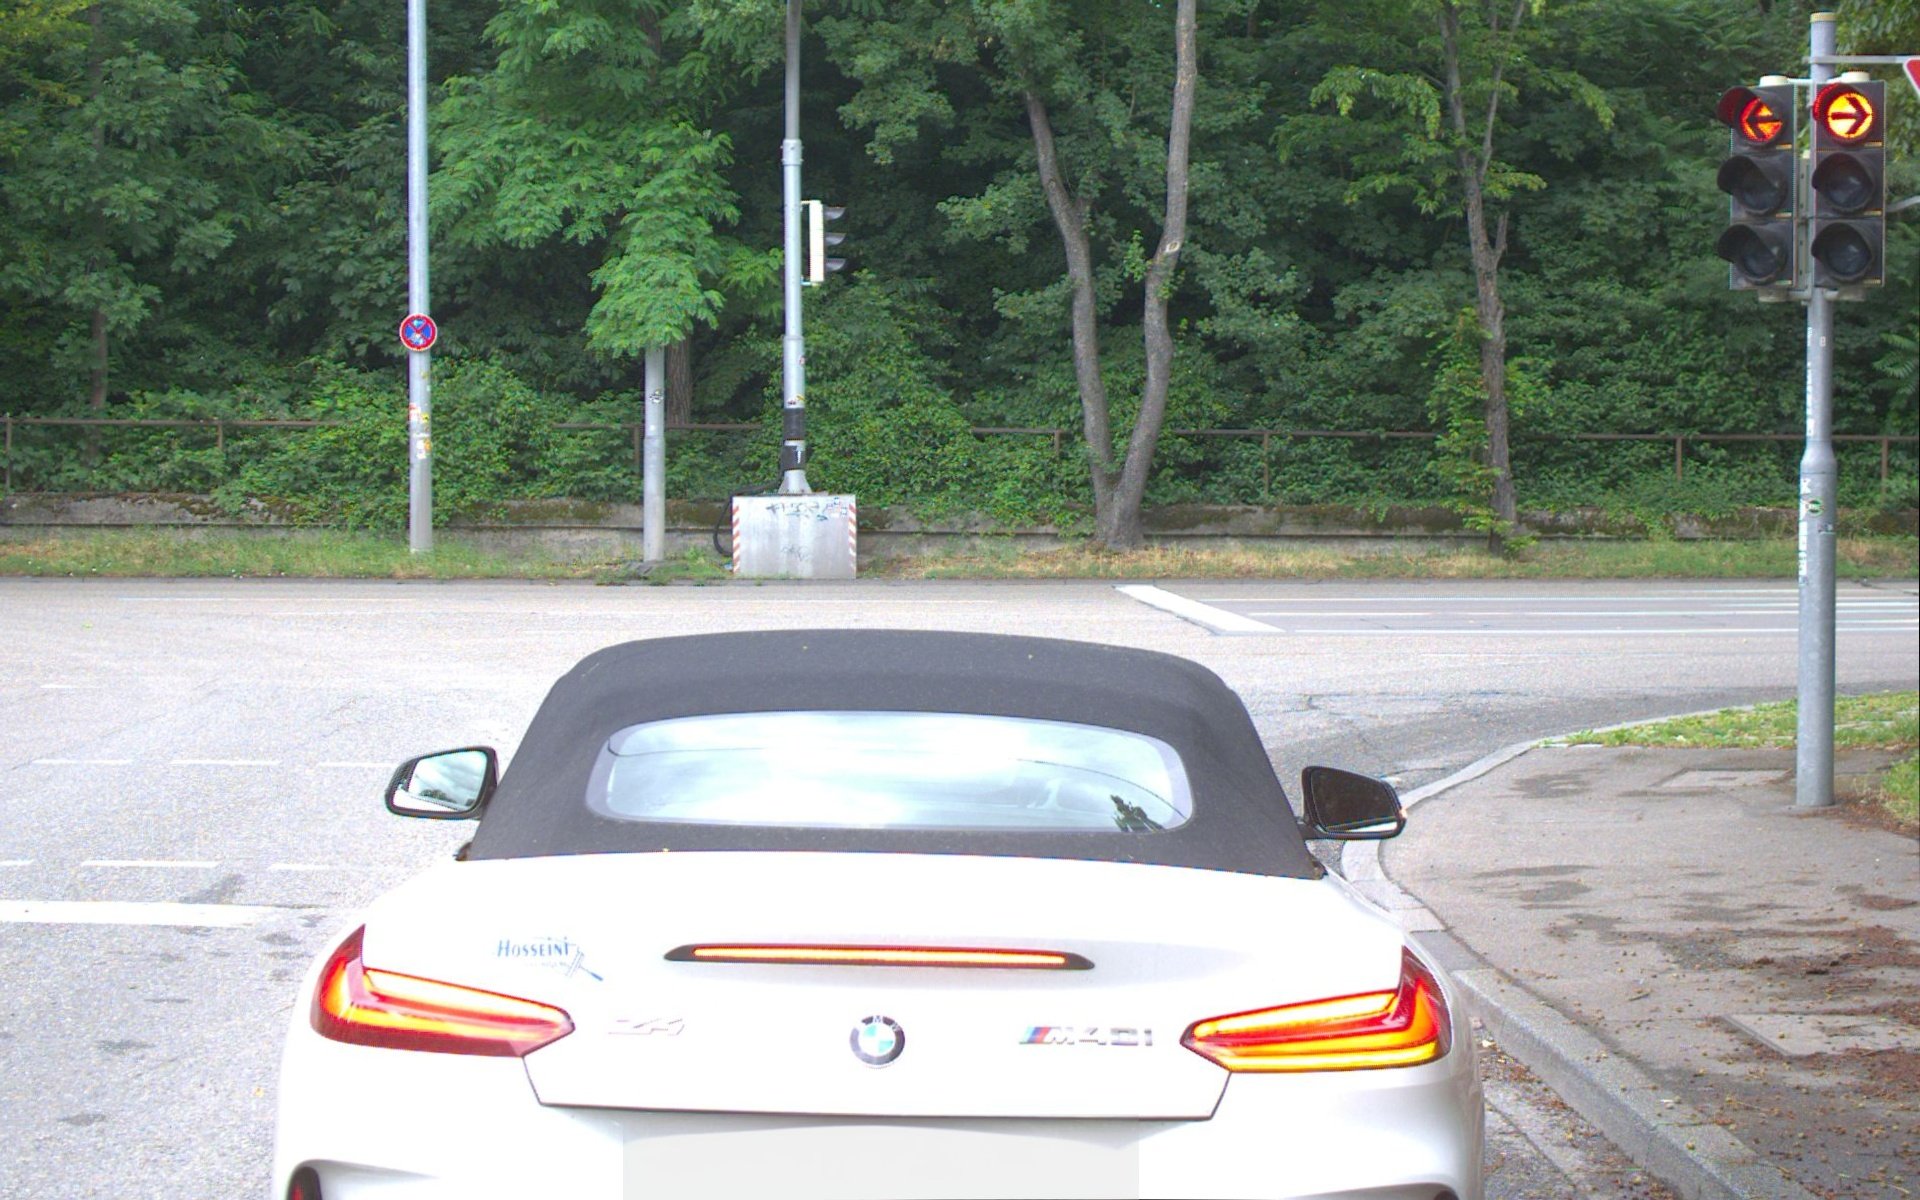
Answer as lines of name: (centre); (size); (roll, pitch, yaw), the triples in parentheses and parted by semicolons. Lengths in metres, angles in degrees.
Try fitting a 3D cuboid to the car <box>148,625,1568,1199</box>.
car: (-0.224, 0.702, 6.467); (1.827, 1.253, 4.000); (2, 0, -3)
